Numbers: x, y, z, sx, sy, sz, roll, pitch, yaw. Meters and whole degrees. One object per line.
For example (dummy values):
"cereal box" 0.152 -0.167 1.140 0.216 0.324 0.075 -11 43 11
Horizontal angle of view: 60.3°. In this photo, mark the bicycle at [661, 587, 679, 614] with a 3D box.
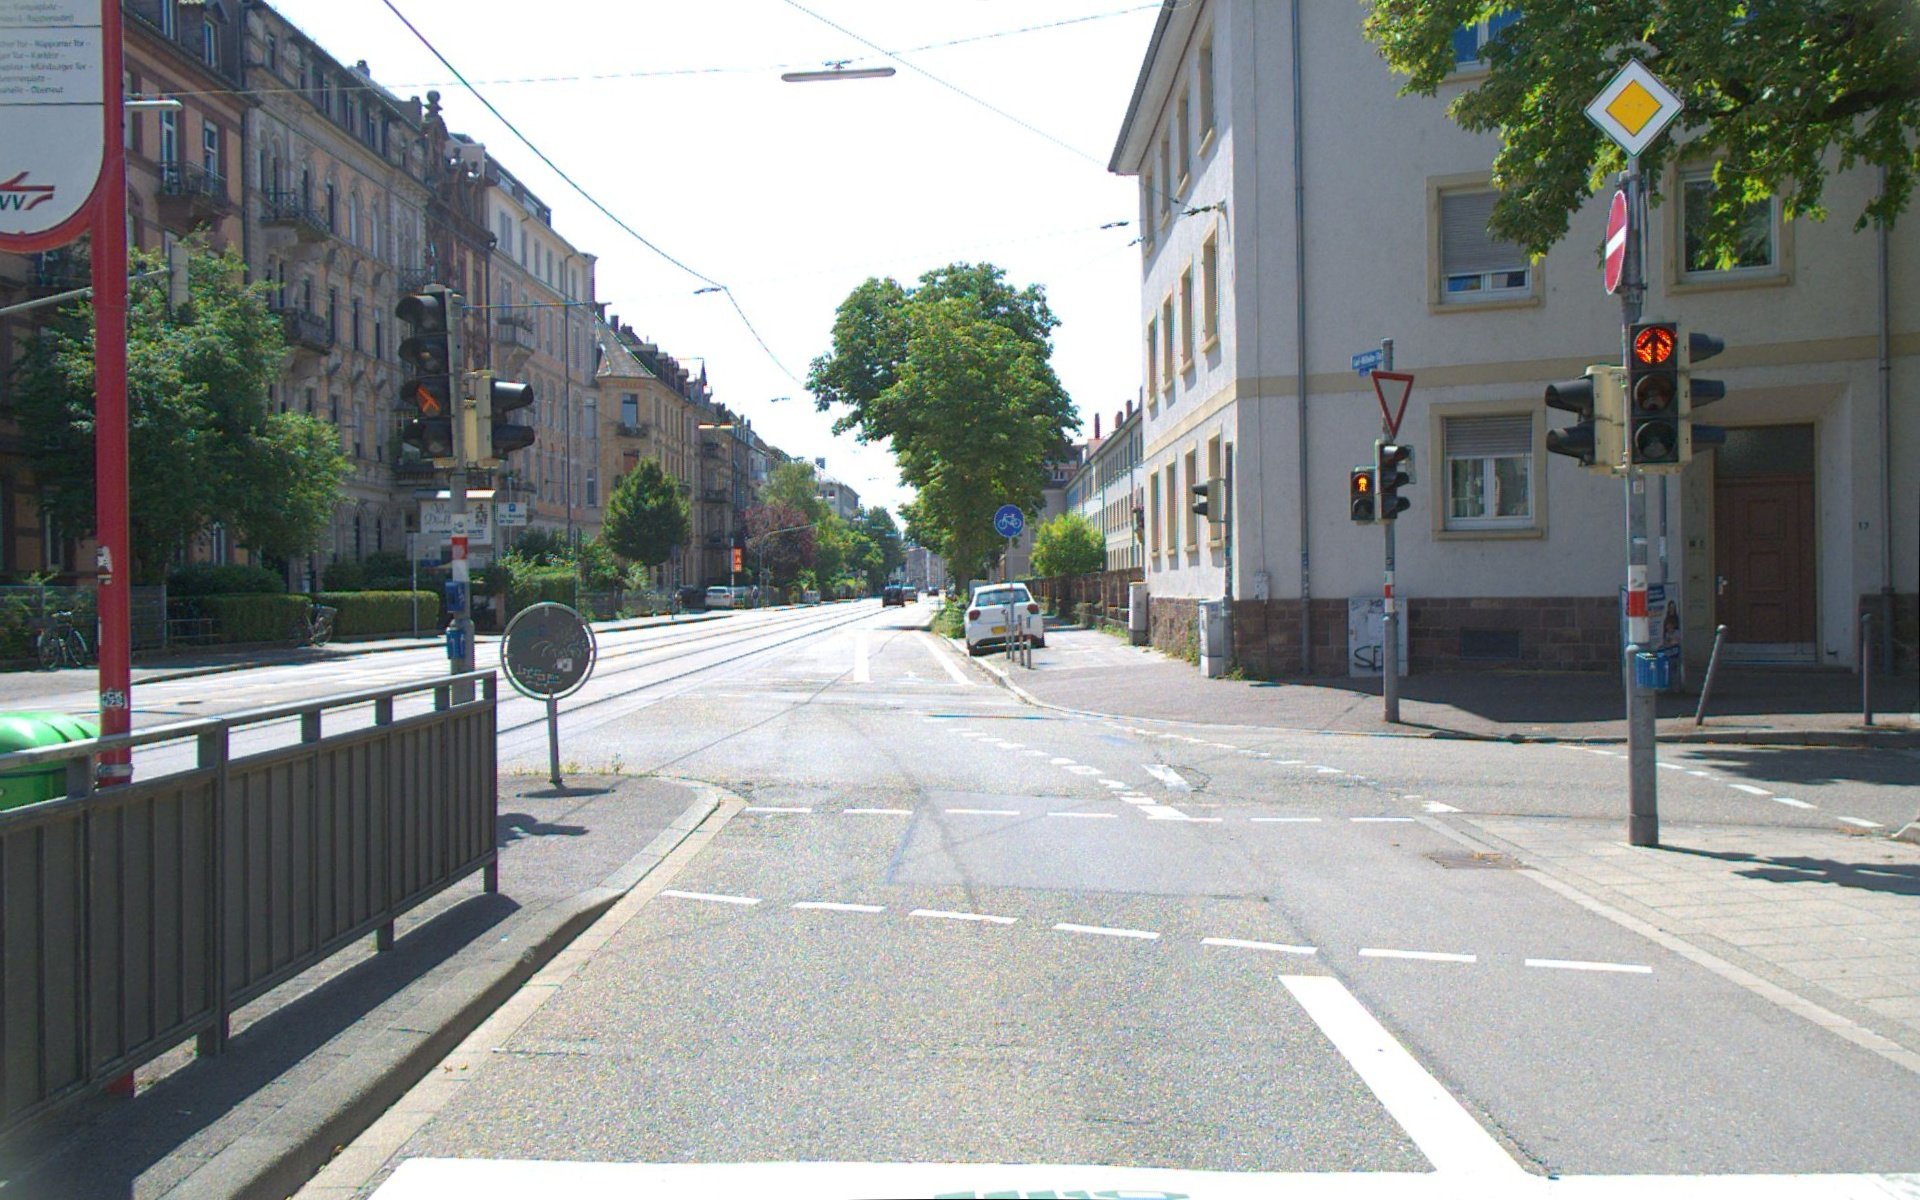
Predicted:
"bicycle" -15.374 0.013 87.635 0.565 1.412 2.500 0 0 -1

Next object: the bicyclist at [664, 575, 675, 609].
"bicyclist" -15.381 -0.405 87.630 0.531 1.794 0.498 0 0 -1

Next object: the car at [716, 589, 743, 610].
"car" -17.207 -0.039 123.580 1.596 1.498 3.562 -4 0 -3

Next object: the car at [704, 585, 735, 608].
"car" -16.788 -0.235 115.432 1.651 1.498 3.936 -4 0 -3

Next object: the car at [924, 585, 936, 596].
"car" -4.647 -1.481 255.460 1.596 1.498 3.562 -4 0 -3

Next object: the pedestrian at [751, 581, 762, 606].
"pedestrian" -14.527 -0.461 118.171 0.664 1.758 0.677 0 0 -1

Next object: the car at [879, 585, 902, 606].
"car" -5.064 -0.312 120.670 1.494 1.469 3.364 -2 0 0

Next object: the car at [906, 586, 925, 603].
"car" -4.300 -0.479 159.461 1.712 1.498 3.937 -4 0 -1

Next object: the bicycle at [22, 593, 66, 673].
"bicycle" -16.945 0.589 30.624 0.607 1.420 2.288 0 0 -27

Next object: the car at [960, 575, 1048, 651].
"car" 0.931 0.279 37.220 1.712 1.498 3.937 -4 0 -1

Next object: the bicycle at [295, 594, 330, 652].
"bicycle" -15.869 0.541 40.515 0.584 1.380 2.419 0 0 -27
